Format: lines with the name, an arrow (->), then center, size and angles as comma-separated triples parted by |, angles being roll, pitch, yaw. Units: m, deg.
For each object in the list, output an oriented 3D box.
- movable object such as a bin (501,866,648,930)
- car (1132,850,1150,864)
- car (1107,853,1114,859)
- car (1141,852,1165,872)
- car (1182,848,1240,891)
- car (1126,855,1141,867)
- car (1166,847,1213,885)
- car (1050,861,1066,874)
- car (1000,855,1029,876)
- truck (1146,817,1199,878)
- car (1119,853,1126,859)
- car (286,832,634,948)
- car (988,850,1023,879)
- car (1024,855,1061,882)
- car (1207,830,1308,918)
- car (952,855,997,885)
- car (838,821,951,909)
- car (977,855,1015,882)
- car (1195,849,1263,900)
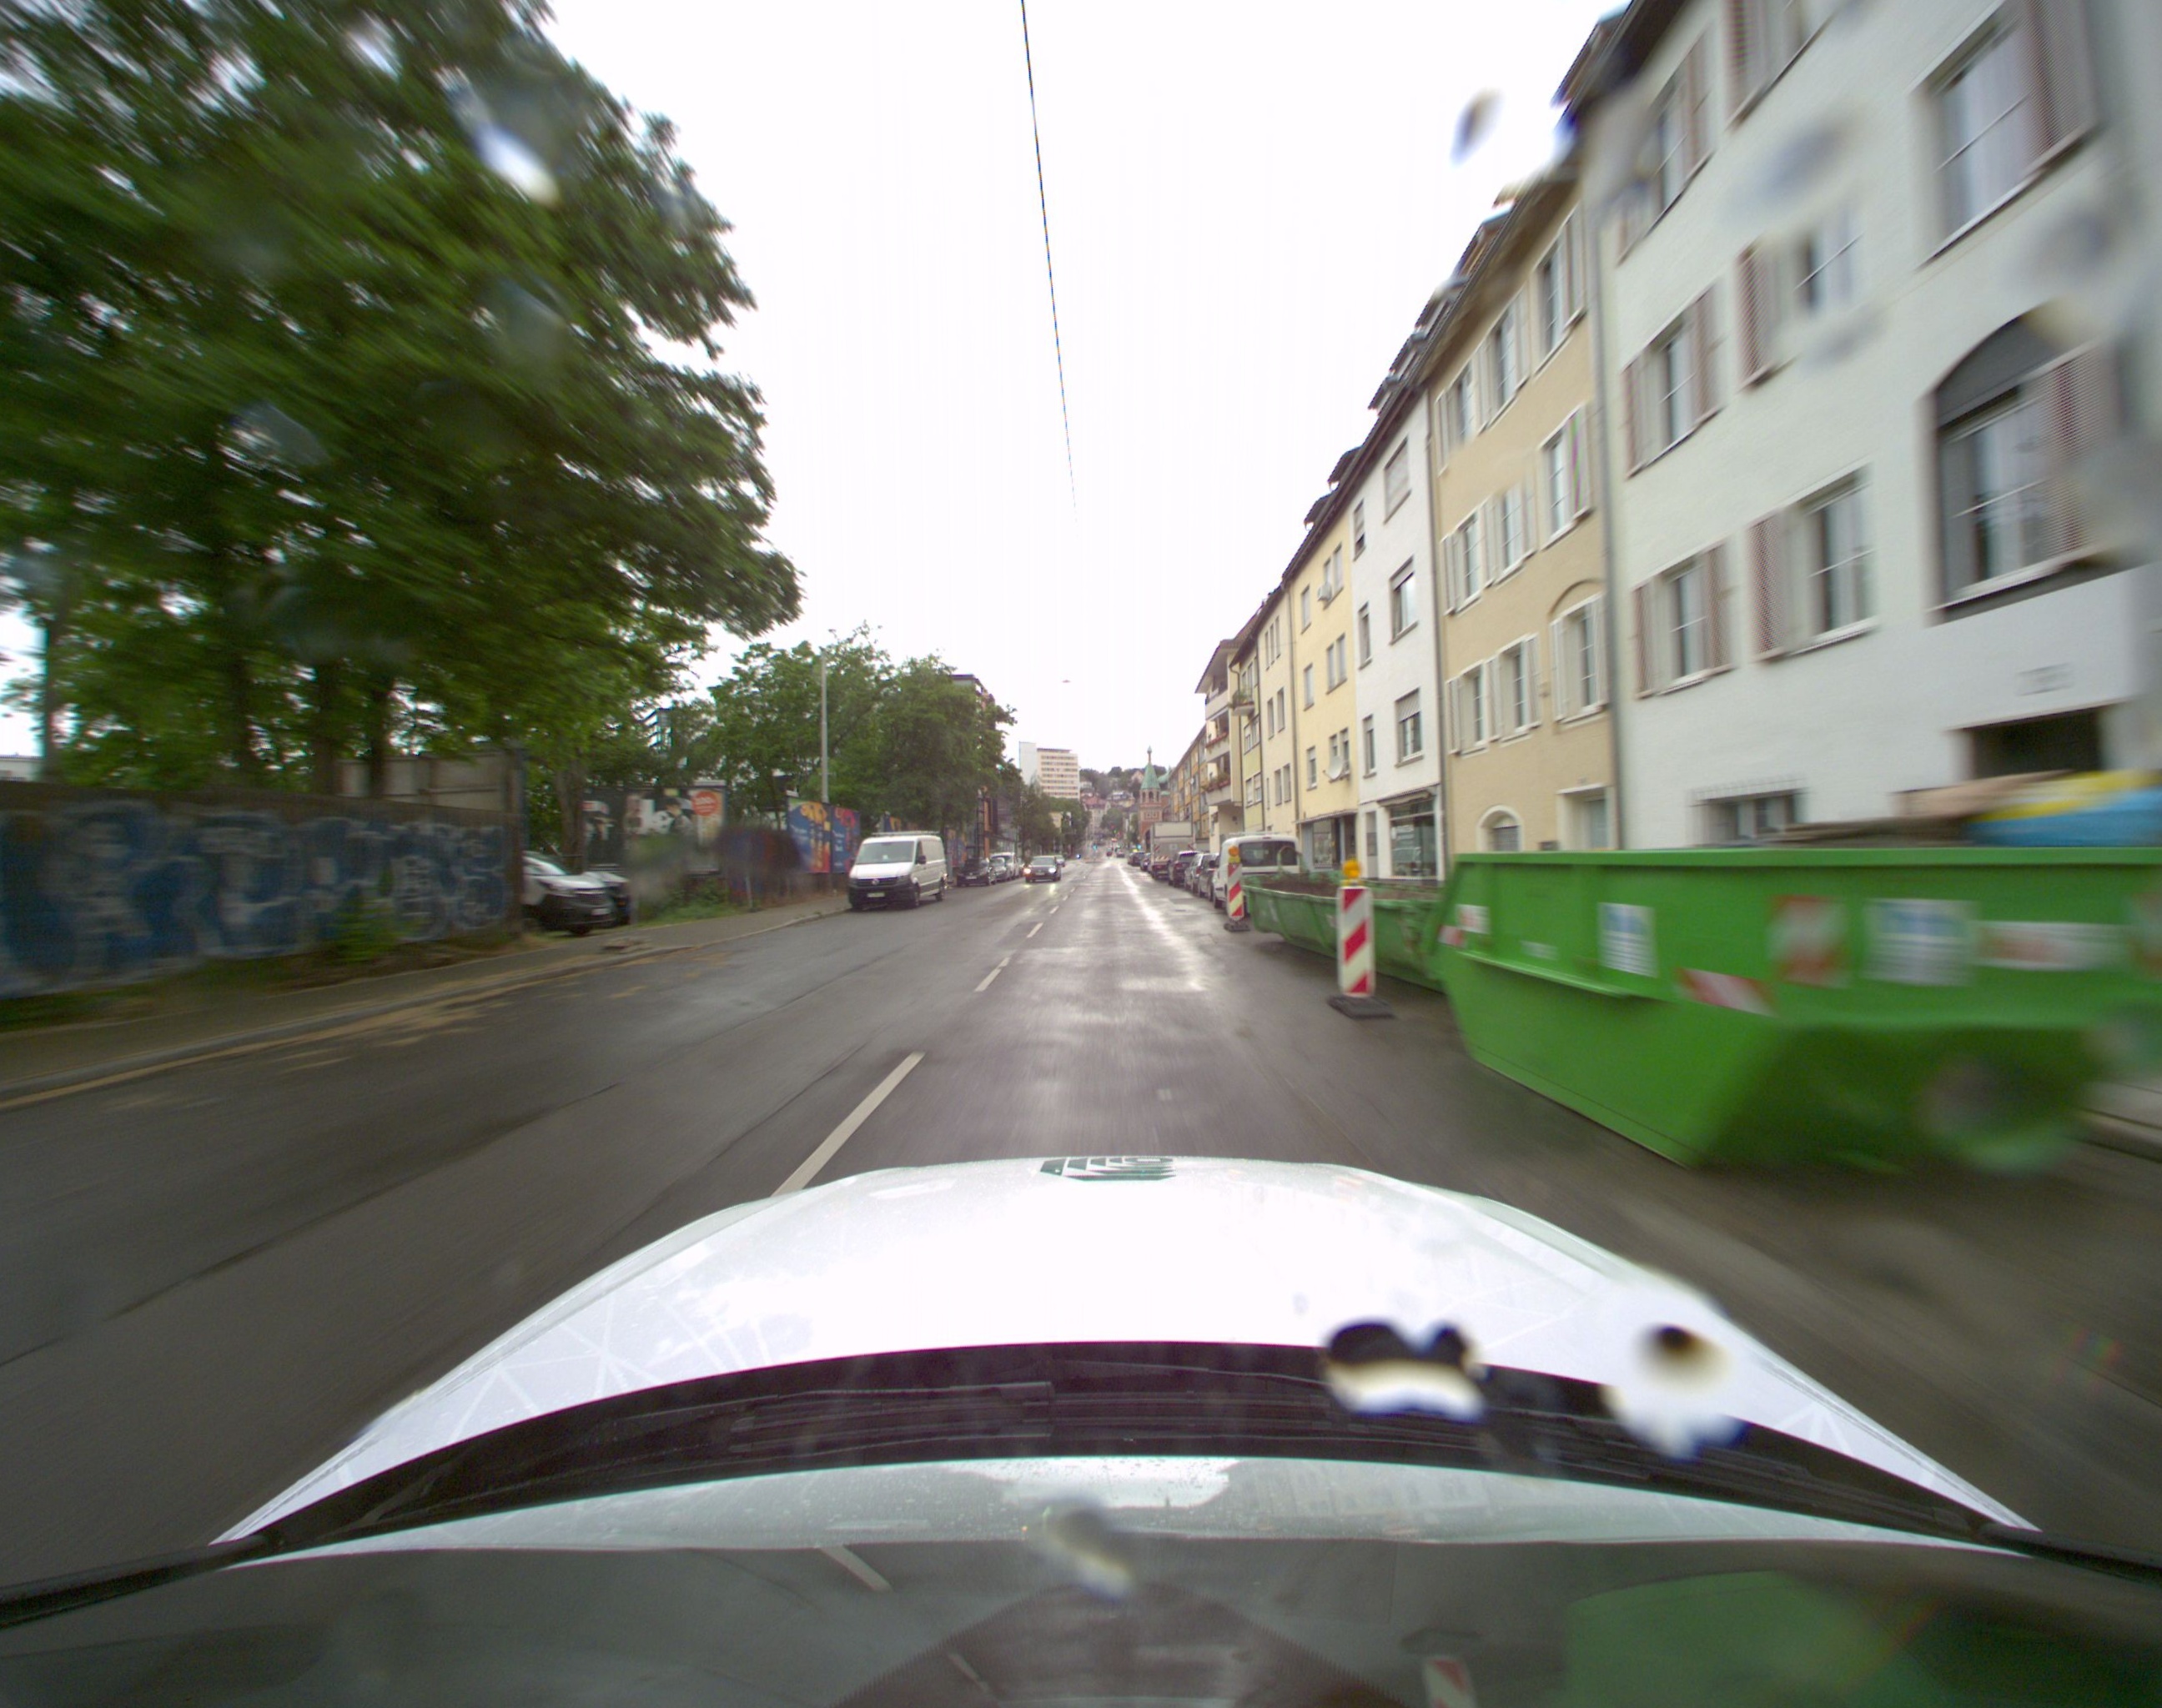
movable object such as a bin -> -12.743, 1.078, 20.665 | 2.696, 1.424, 1.668 | -3, -1, -12
car -> 6.765, 0.352, 92.389 | 1.811, 1.652, 4.077 | 0, -1, 1
car -> 9.222, 0.633, 255.677 | 1.901, 1.510, 4.001 | -1, -1, 1
car -> 5.917, 0.676, 66.977 | 1.658, 1.502, 3.921 | -2, -1, 0
car -> 4.904, 0.564, 31.110 | 1.657, 1.500, 4.099 | -2, -1, 2
car -> 7.056, 0.930, 109.469 | 1.811, 1.522, 4.077 | 0, -1, 1
car -> 4.836, 0.544, 36.866 | 1.657, 1.573, 4.099 | -2, -1, 2
car -> -2.755, 1.589, 98.180 | 1.704, 1.450, 4.294 | -2, -1, 1
car -> -4.807, 0.874, 59.391 | 1.718, 1.376, 4.342 | -3, -1, -1
truck -> 5.147, -0.280, 46.901 | 2.460, 3.172, 7.039 | -2, -1, 2
car -> 11.503, 0.626, 227.220 | 1.724, 1.653, 4.005 | -1, 0, 5
car -> -12.694, 0.710, 16.957 | 5.483, 2.009, 2.145 | -3, -1, -1
car -> -4.928, 0.707, 53.751 | 1.717, 1.800, 4.344 | -3, -1, 1
car -> -2.181, 0.830, 47.030 | 1.799, 1.416, 4.383 | -2, -1, 1
car -> 4.288, 0.466, 20.423 | 1.810, 1.924, 4.242 | -1, 0, 3
car -> -5.426, 0.841, 41.924 | 1.676, 1.398, 3.910 | -3, -1, 1
car -> -5.965, 0.345, 26.923 | 2.004, 2.487, 5.987 | -3, 0, 2
car -> -5.048, 0.888, 48.849 | 1.676, 1.462, 4.277 | -3, -1, 1
car -> 4.604, 0.616, 25.799 | 1.571, 1.470, 3.502 | -2, -1, 1
